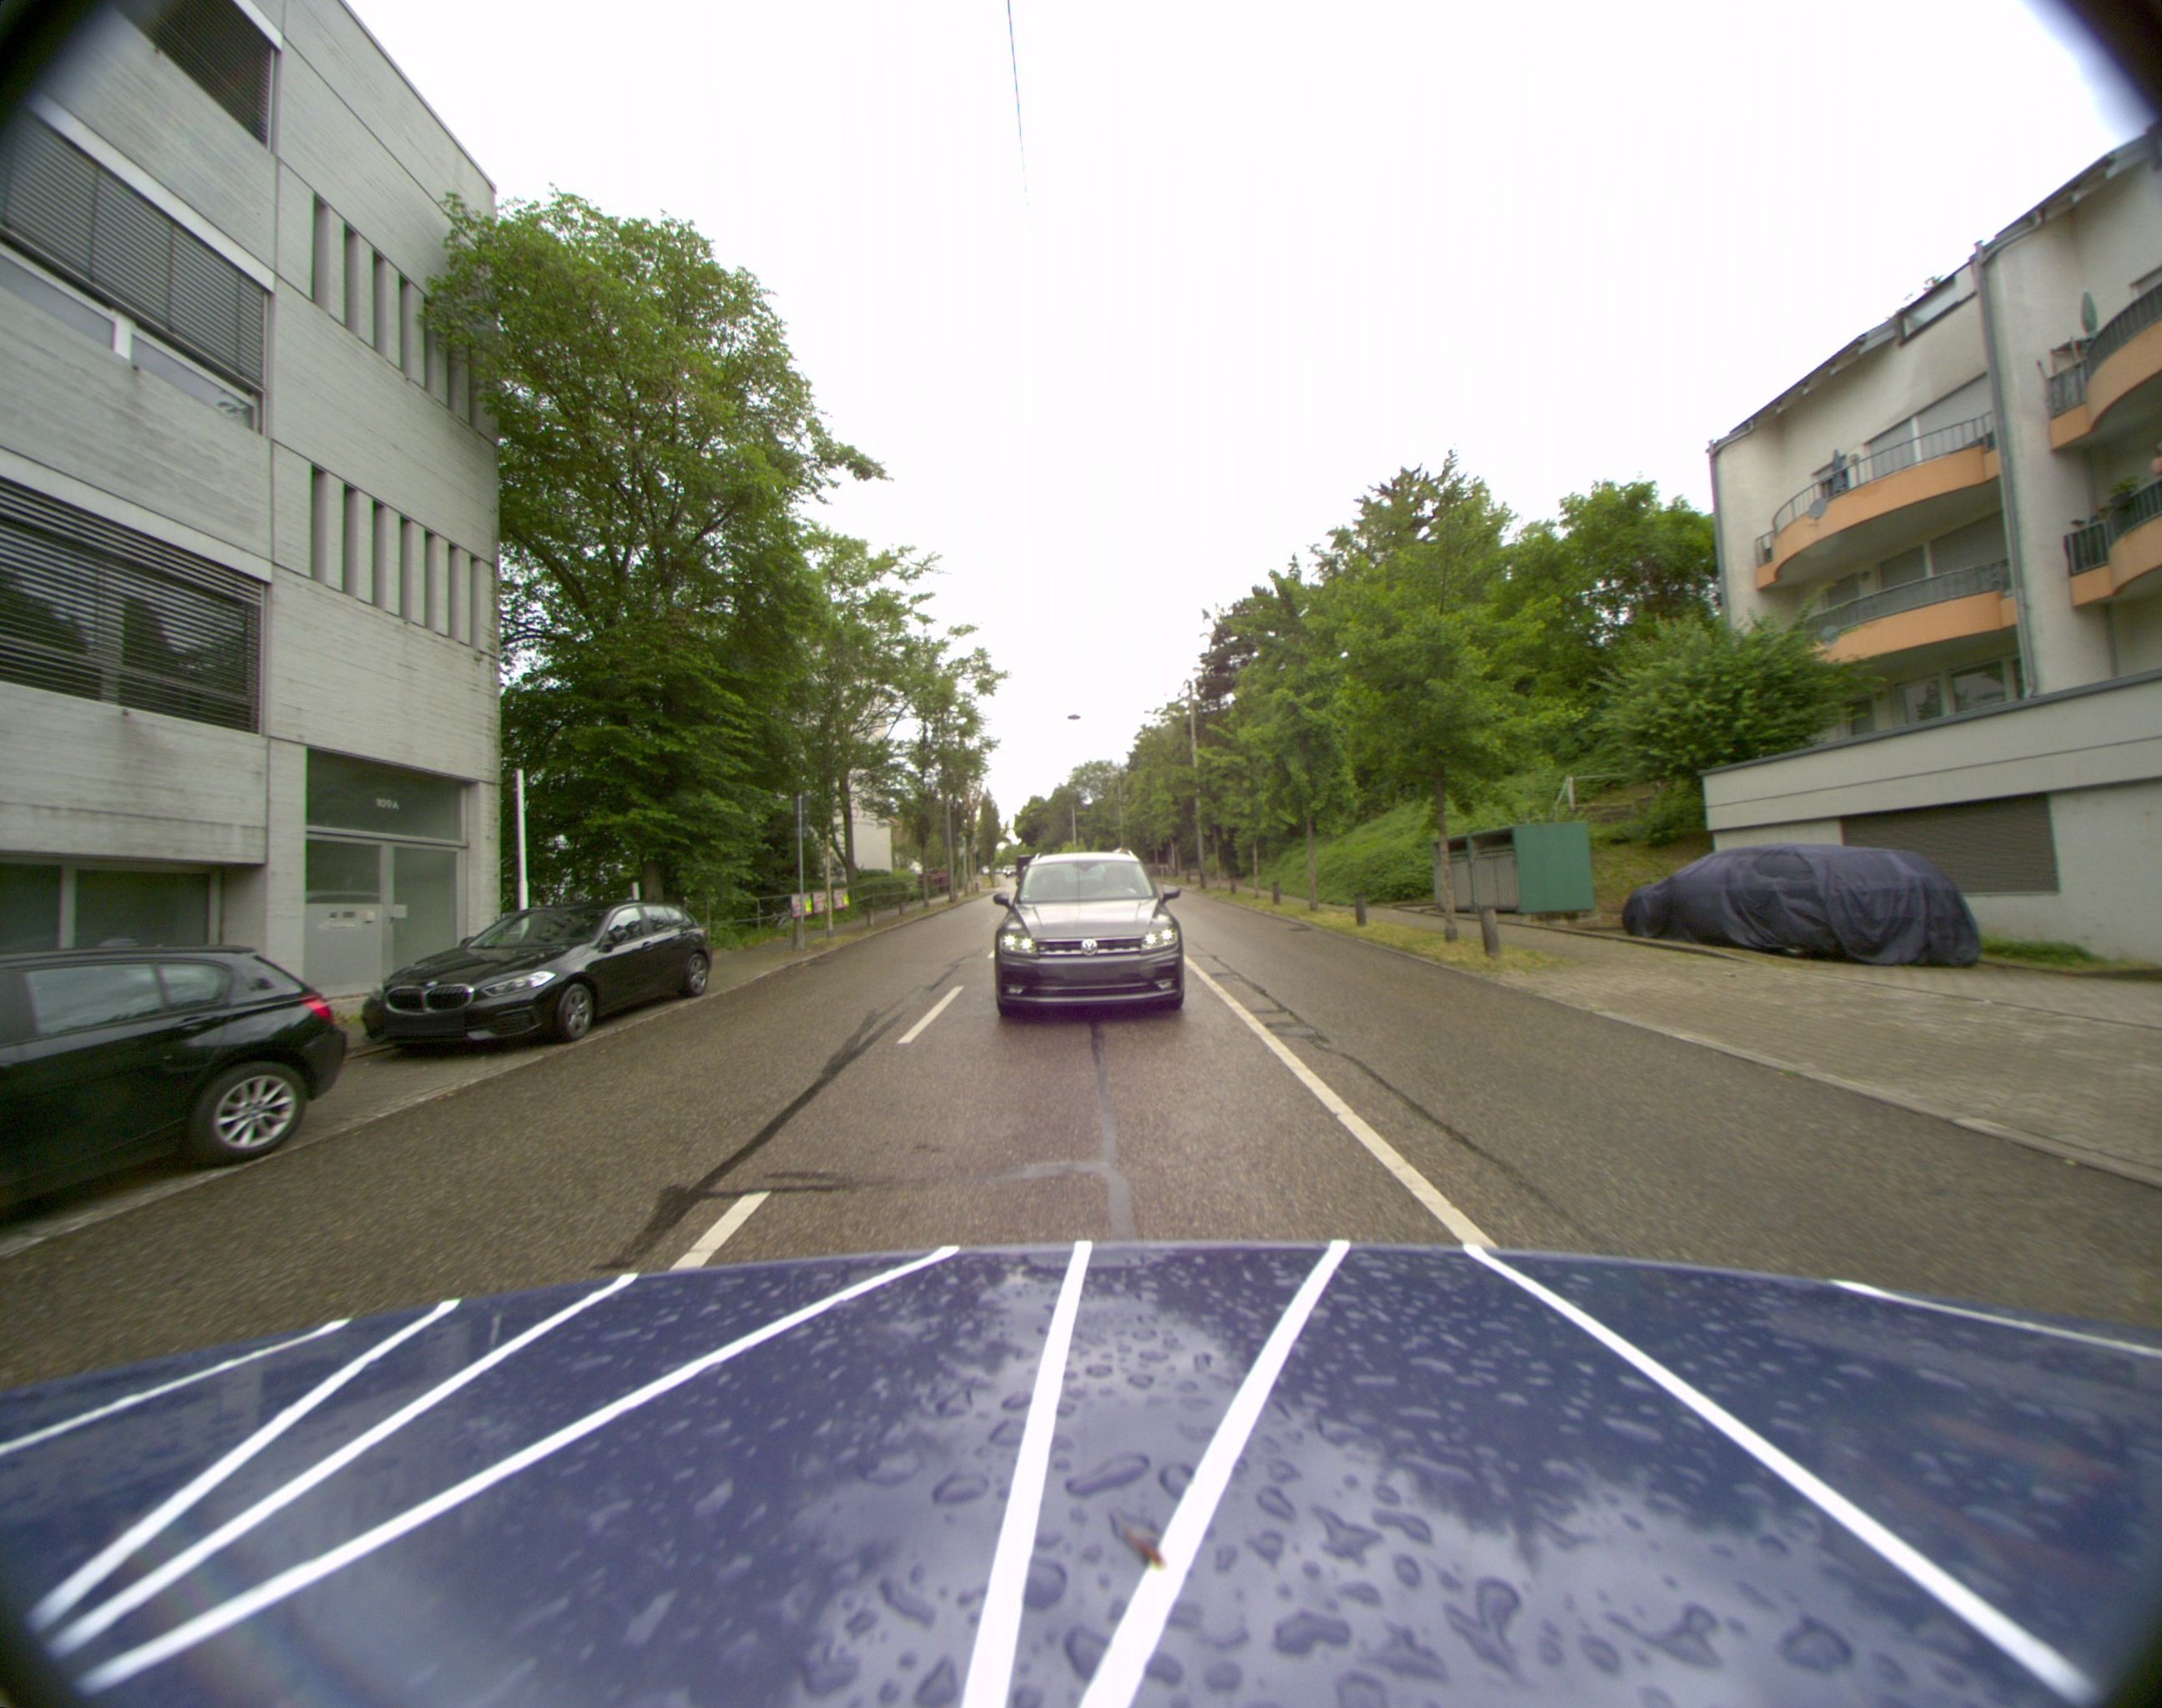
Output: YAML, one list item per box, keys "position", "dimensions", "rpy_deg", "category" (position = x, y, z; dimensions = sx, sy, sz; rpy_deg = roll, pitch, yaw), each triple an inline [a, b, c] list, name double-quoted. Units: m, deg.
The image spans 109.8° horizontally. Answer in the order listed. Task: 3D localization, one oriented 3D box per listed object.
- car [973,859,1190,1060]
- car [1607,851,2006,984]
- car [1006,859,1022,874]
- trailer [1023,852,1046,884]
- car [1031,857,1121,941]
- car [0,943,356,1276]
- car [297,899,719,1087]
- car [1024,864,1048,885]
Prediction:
- position: [0.027, 0.920, 8.643]
  dimensions: [1.786, 1.631, 4.200]
  rpy_deg: [-3, 0, 1]
  category: "car"
- position: [9.762, 0.743, 10.751]
  dimensions: [1.856, 1.483, 3.865]
  rpy_deg: [2, 0, -1]
  category: "car"
- position: [-9.451, 1.748, 106.721]
  dimensions: [2.000, 2.002, 3.997]
  rpy_deg: [-3, 1, -7]
  category: "car"
- position: [-4.087, 1.158, 66.257]
  dimensions: [1.771, 2.610, 3.031]
  rpy_deg: [-3, 1, -5]
  category: "trailer"
- position: [-0.079, 0.941, 17.755]
  dimensions: [1.786, 1.631, 4.200]
  rpy_deg: [-3, 0, 1]
  category: "car"
- position: [-6.205, 1.394, 3.434]
  dimensions: [1.710, 1.435, 4.098]
  rpy_deg: [-3, 0, 3]
  category: "car"
- position: [-6.216, 1.392, 9.019]
  dimensions: [1.843, 1.435, 4.155]
  rpy_deg: [-2, 0, 0]
  category: "car"
- position: [-3.751, 1.673, 63.029]
  dimensions: [1.737, 1.610, 3.473]
  rpy_deg: [-3, 1, -6]
  category: "car"
